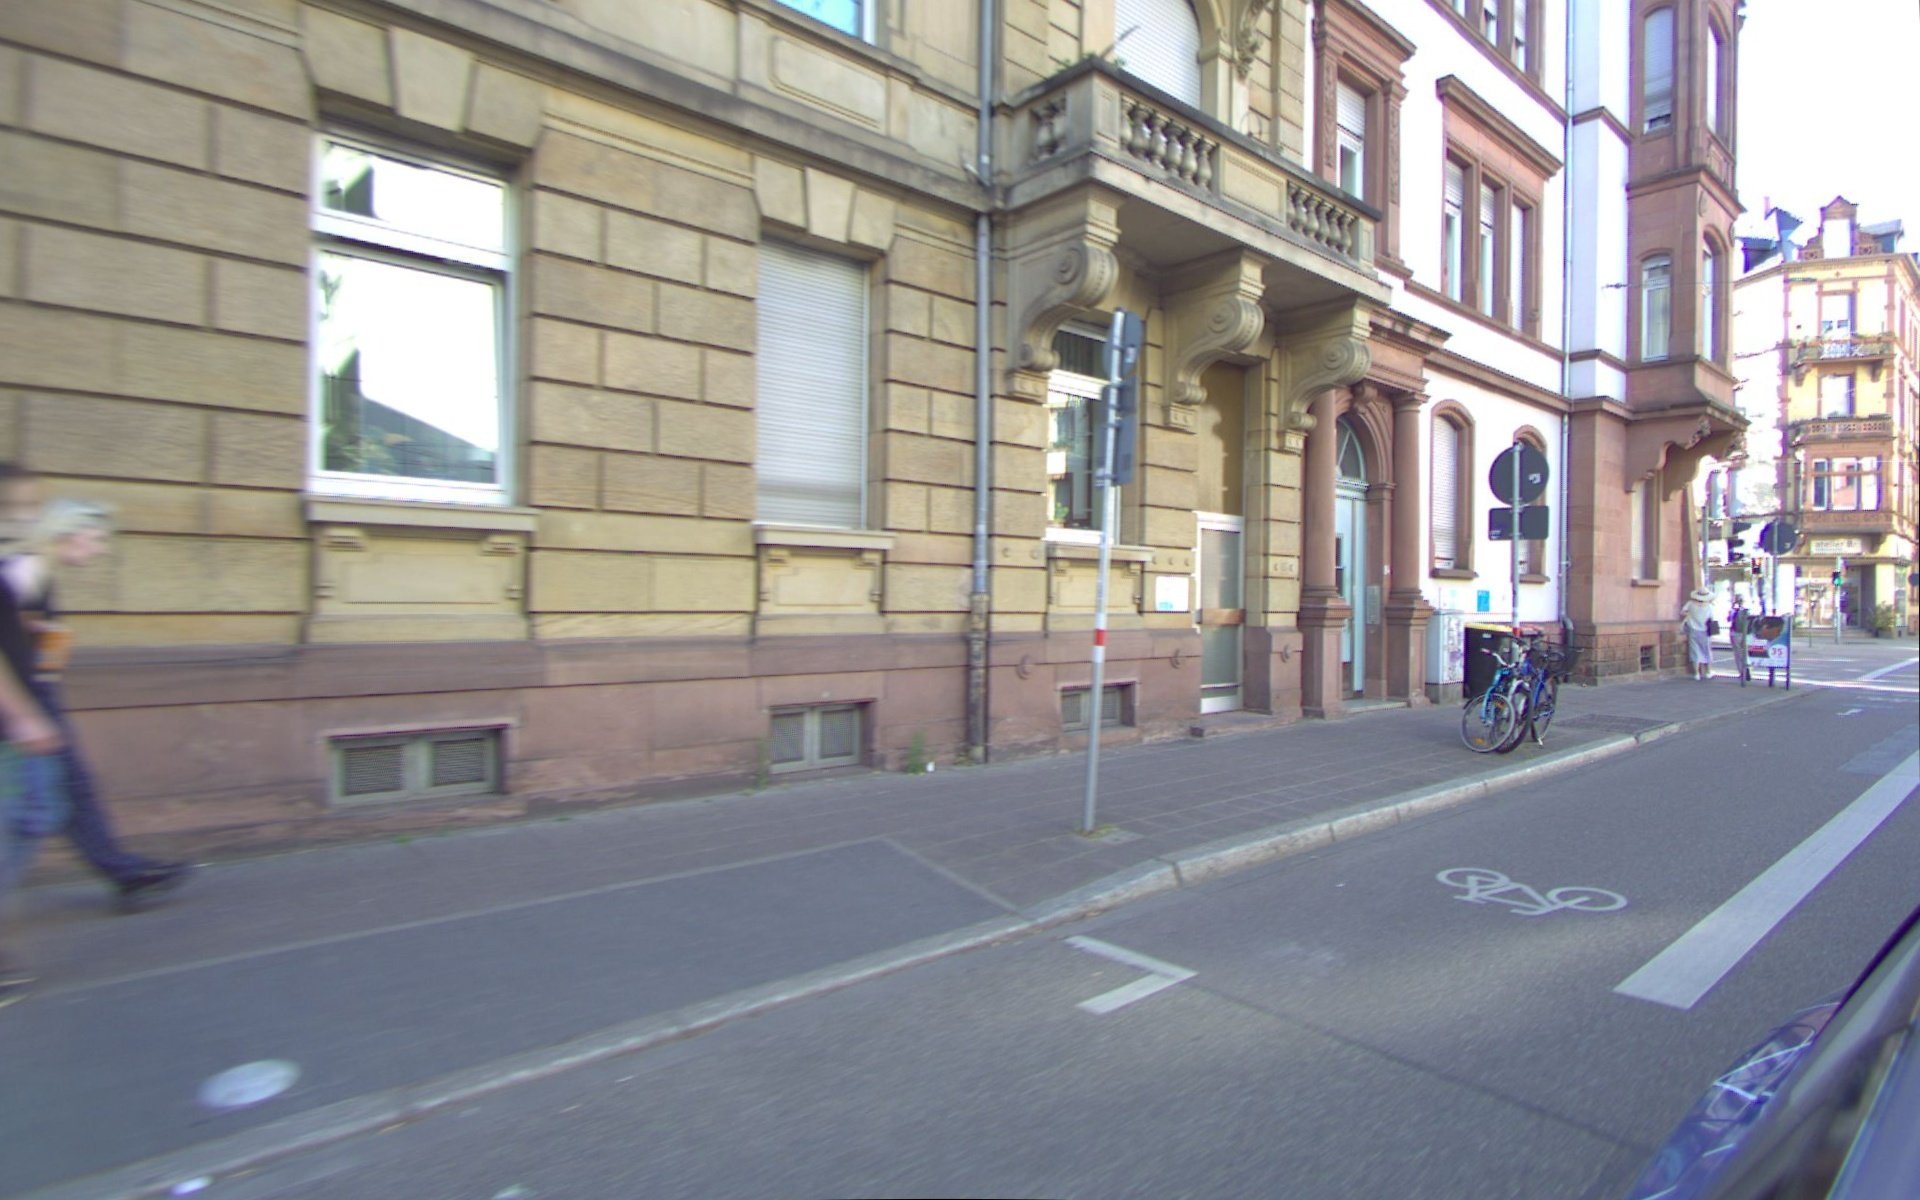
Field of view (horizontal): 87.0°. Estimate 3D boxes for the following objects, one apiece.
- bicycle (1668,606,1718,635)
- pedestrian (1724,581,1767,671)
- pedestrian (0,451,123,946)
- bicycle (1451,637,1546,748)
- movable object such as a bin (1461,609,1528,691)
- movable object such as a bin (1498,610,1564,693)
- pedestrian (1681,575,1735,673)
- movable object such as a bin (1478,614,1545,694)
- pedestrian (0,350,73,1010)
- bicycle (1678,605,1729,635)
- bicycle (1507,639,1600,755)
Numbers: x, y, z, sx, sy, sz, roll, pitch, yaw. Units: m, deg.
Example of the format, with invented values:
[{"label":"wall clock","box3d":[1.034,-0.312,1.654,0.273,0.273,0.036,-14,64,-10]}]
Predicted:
[{"label":"bicycle","box3d":[31.146,0.861,42.997,2.075,1.157,0.619,-1,1,-18]},{"label":"pedestrian","box3d":[15.323,0.489,19.748,0.625,1.722,0.672,1,0,40]},{"label":"pedestrian","box3d":[-3.648,0.356,3.922,0.596,1.805,0.554,0,0,-42]},{"label":"bicycle","box3d":[5.397,0.880,10.103,0.430,0.959,1.737,1,1,42]},{"label":"movable object such as a bin","box3d":[7.469,0.687,14.148,0.561,1.090,0.667,0,0,-42]},{"label":"movable object such as a bin","box3d":[8.444,0.745,14.969,0.584,1.168,0.667,1,1,-42]},{"label":"pedestrian","box3d":[14.194,0.450,19.201,0.661,1.805,0.706,2,-2,-42]},{"label":"movable object such as a bin","box3d":[7.941,0.756,14.577,0.561,1.090,0.667,1,1,-42]},{"label":"pedestrian","box3d":[-3.333,0.243,3.178,0.809,2.039,0.586,1,0,-42]},{"label":"bicycle","box3d":[31.250,0.830,42.538,2.076,1.157,0.619,-1,1,-18]},{"label":"bicycle","box3d":[5.750,0.889,9.764,0.430,0.959,1.737,1,1,42]}]
